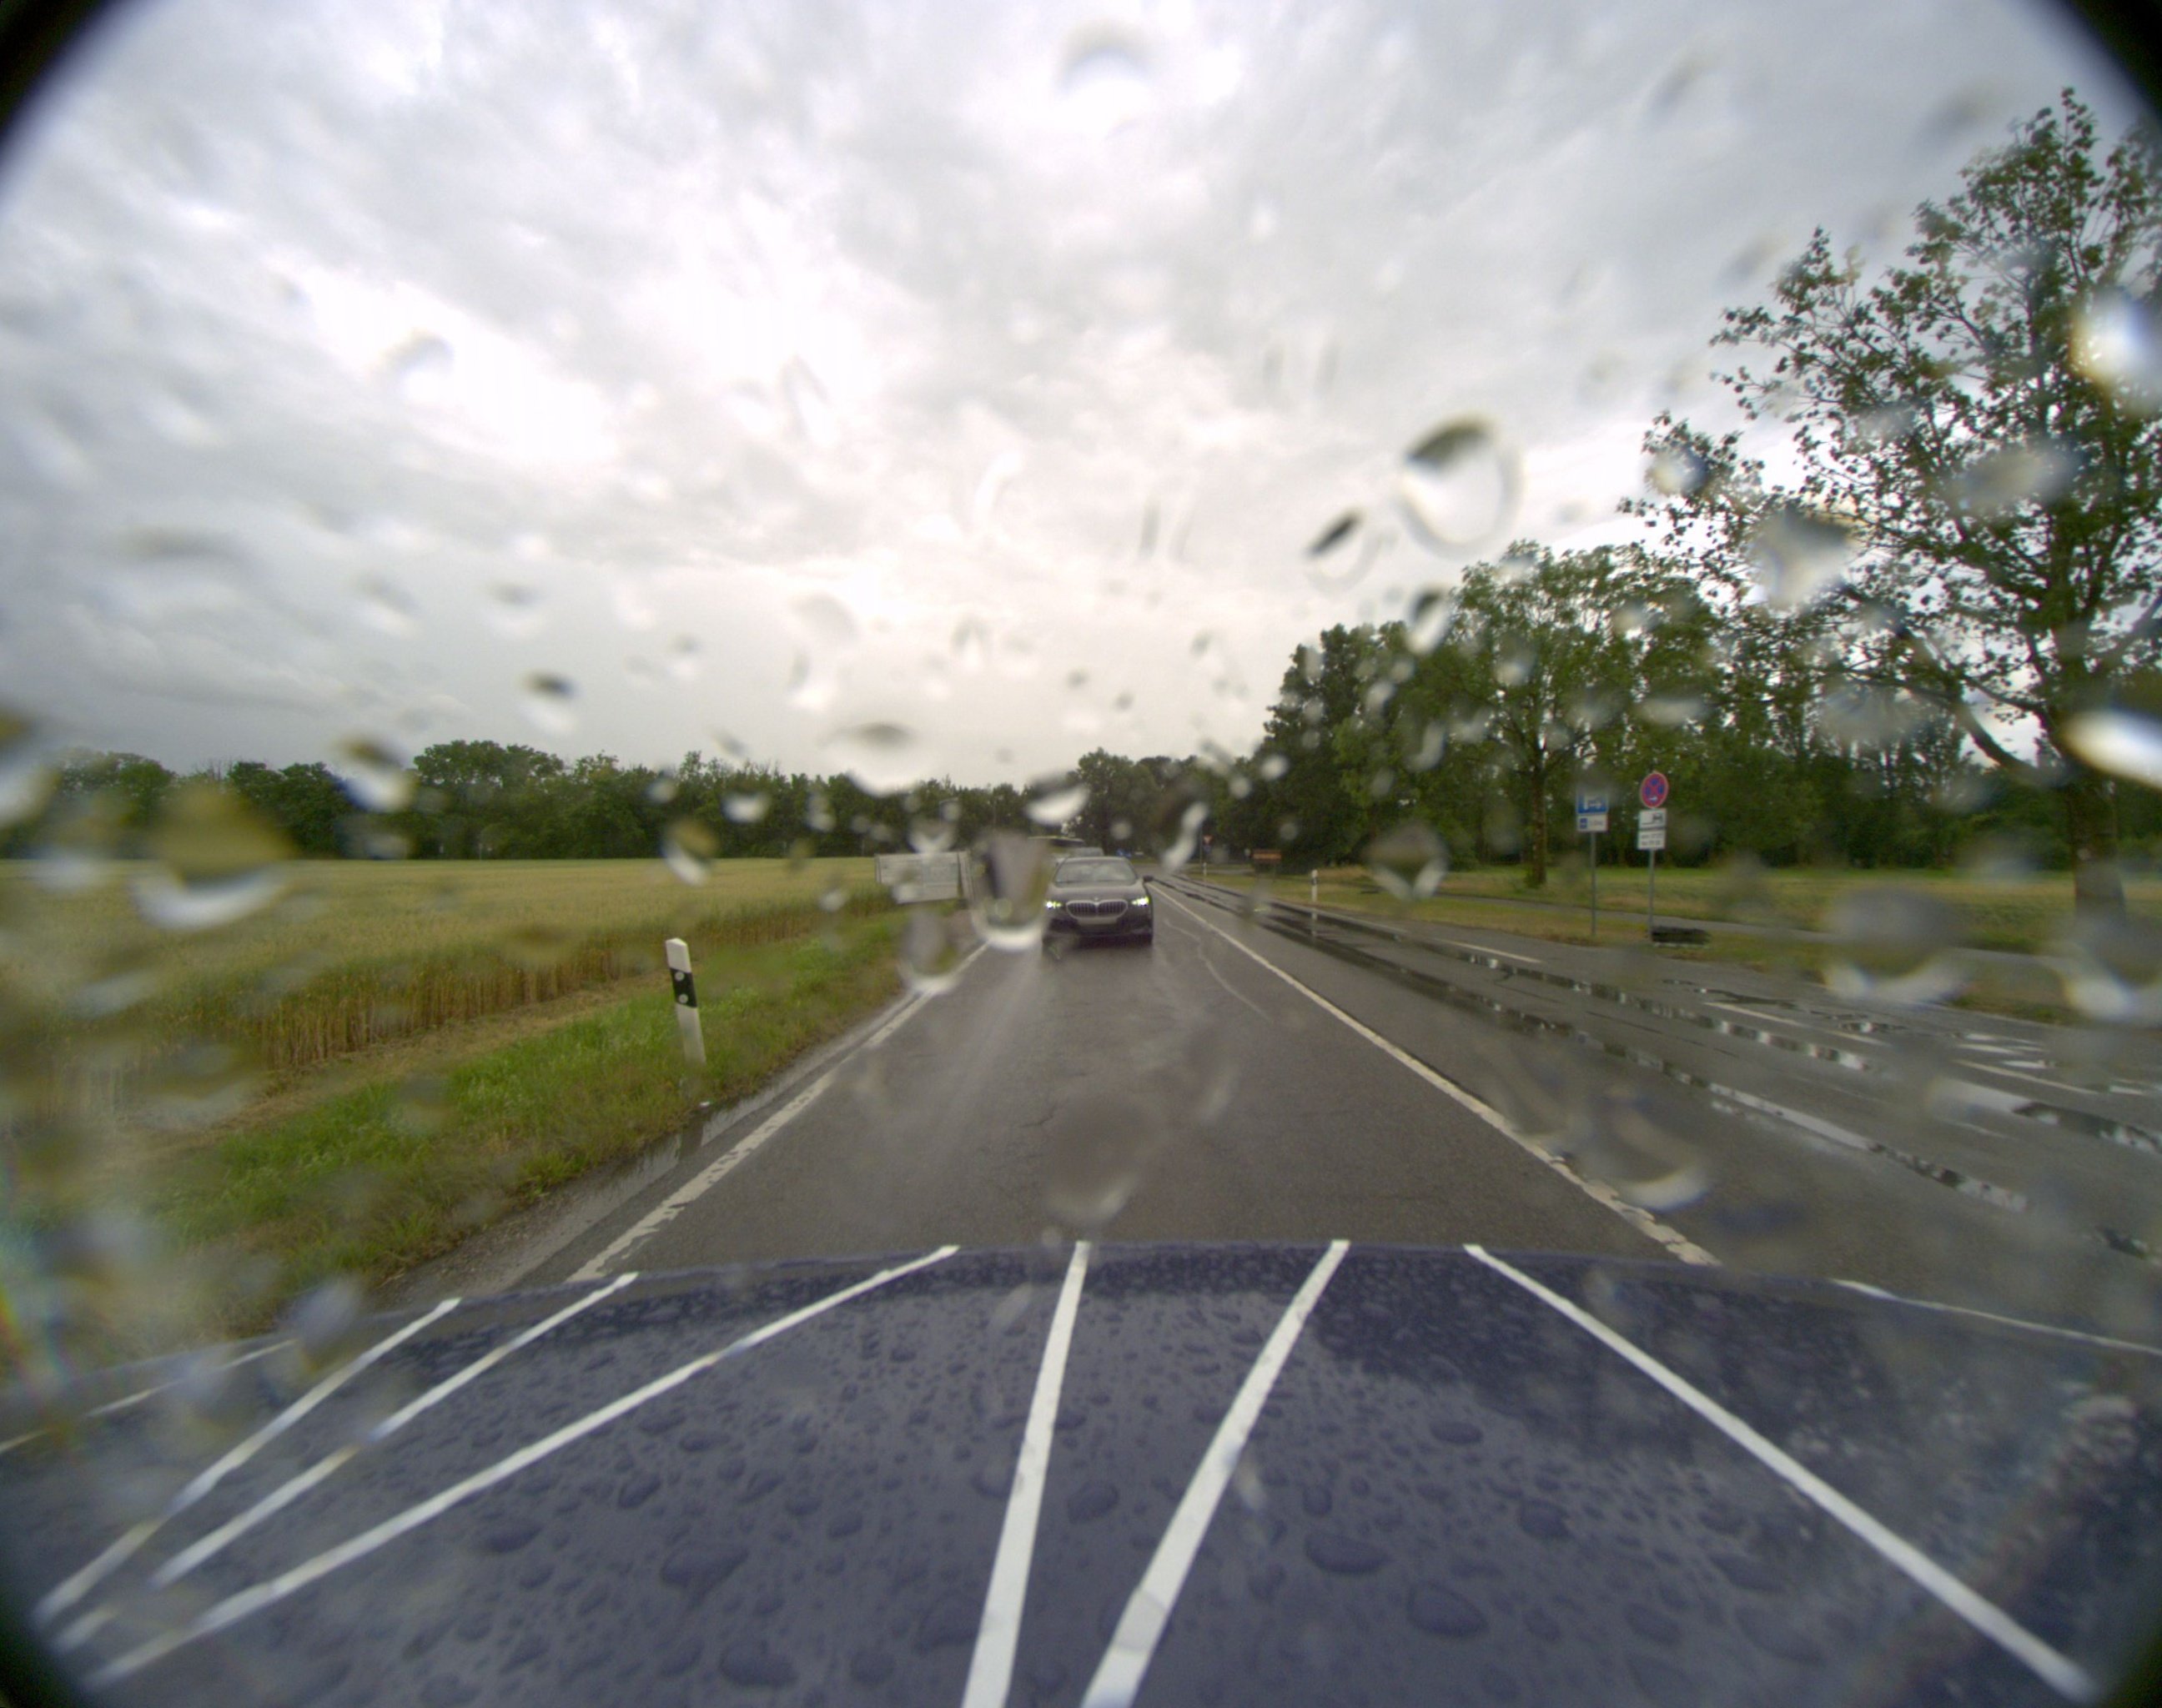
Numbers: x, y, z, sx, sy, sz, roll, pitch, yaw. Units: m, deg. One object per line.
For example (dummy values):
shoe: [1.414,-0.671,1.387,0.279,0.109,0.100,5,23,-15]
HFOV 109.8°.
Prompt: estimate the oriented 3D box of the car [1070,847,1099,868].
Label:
car: [0.222,0.255,58.525,1.892,1.522,5.254,-2,0,-3]

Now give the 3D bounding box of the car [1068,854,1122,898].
car: [0.479,0.795,29.339,1.892,1.482,4.191,-2,1,-1]

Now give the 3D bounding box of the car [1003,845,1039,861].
car: [-5.982,-0.083,75.331,1.896,1.522,4.492,-2,1,-28]

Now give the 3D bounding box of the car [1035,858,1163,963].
car: [0.281,0.863,13.502,1.892,1.484,4.035,-1,0,0]

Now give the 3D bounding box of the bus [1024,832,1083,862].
bus: [-3.355,-0.867,99.239,2.991,3.665,14.313,1,1,18]

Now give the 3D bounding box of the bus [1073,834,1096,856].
bus: [0.629,-1.463,125.607,2.855,3.417,14.297,0,1,4]

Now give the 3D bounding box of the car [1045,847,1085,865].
car: [-1.462,0.197,66.765,1.895,1.522,4.493,-2,1,-24]

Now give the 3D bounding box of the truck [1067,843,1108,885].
truck: [0.318,0.480,43.169,2.076,2.050,5.767,-3,1,-1]
